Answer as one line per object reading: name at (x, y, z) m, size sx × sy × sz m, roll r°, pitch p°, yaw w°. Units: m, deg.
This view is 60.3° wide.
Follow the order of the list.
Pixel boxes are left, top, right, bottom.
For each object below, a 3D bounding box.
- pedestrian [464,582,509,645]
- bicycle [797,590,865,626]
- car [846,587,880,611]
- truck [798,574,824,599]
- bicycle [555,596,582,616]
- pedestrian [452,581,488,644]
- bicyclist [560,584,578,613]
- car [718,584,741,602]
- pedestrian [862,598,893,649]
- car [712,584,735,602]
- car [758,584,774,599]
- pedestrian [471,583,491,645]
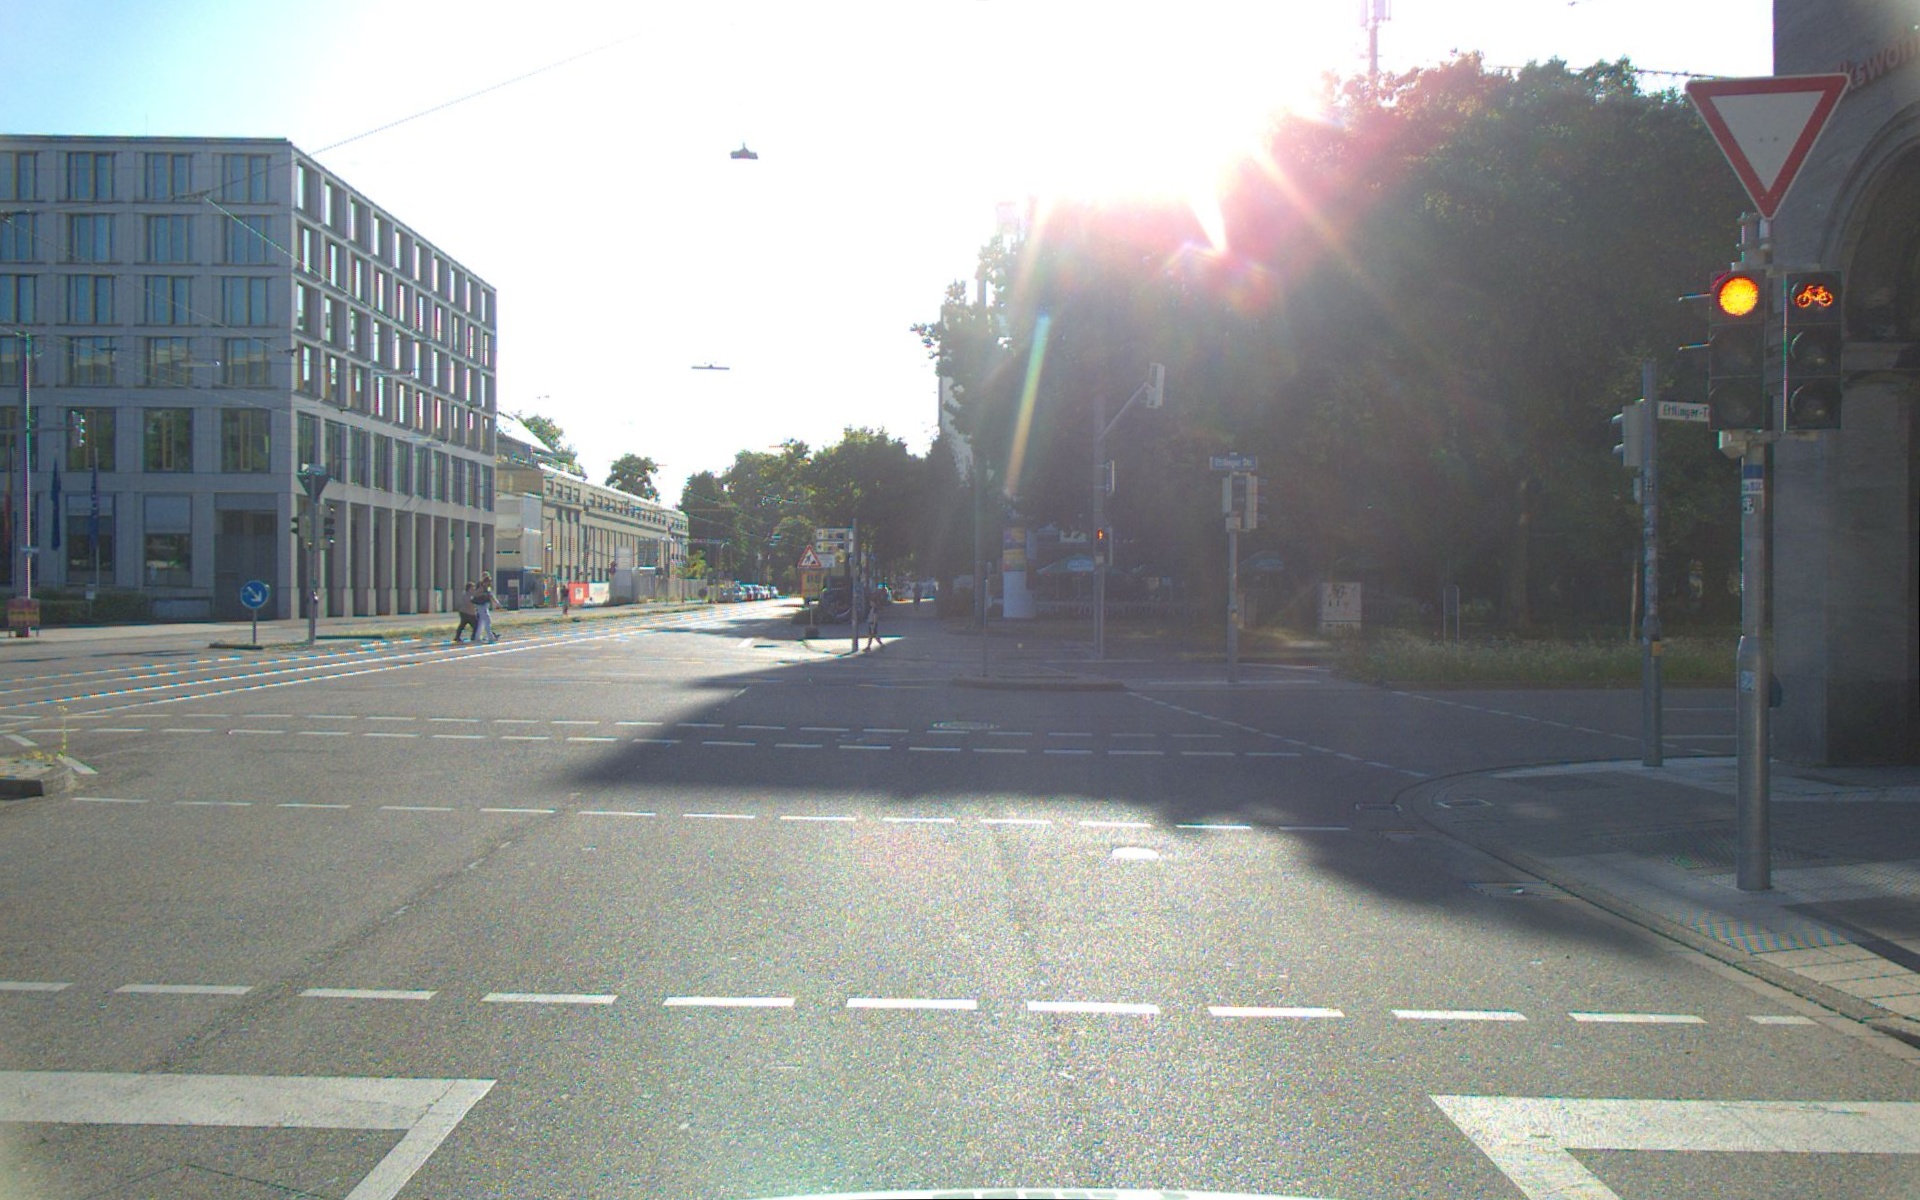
pedestrian at (-12.300, 0.340, 42.940) m, size 0.964 × 1.615 × 0.660 m, roll 0°, pitch -1°, yaw 1°
bicycle at (-5.228, 0.326, 67.059) m, size 2.688 × 1.391 × 0.631 m, roll 1°, pitch -1°, yaw 10°
car at (-5.336, -0.064, 91.303) m, size 1.783 × 1.301 × 3.998 m, roll 0°, pitch 0°, yaw -3°
truck at (-12.626, -1.157, 140.477) m, size 1.876 × 2.129 × 3.999 m, roll 0°, pitch 0°, yaw -1°
bicycle at (-22.980, 0.361, 97.165) m, size 0.857 × 1.140 × 3.013 m, roll 0°, pitch 0°, yaw 0°
pedestrian at (-12.961, 0.328, 43.775) m, size 0.779 × 1.668 × 0.533 m, roll 0°, pitch 0°, yaw 2°
bicyclist at (-22.954, -0.090, 97.153) m, size 0.857 × 1.670 × 0.822 m, roll 0°, pitch 0°, yaw 0°
car at (-22.235, -0.699, 159.819) m, size 1.695 × 1.682 × 3.999 m, roll 0°, pitch 0°, yaw -1°
pedestrian at (-2.210, 0.631, 44.259) m, size 0.736 × 1.356 × 0.743 m, roll 0°, pitch 0°, yaw 4°
car at (-22.263, -0.636, 155.718) m, size 1.695 × 1.682 × 3.999 m, roll 0°, pitch 0°, yaw -1°
car at (-22.647, -0.986, 193.335) m, size 1.453 × 1.780 × 3.999 m, roll 0°, pitch 0°, yaw -1°
pedestrian at (-12.952, 0.377, 44.737) m, size 0.432 × 1.692 × 0.376 m, roll 0°, pitch 0°, yaw -2°
